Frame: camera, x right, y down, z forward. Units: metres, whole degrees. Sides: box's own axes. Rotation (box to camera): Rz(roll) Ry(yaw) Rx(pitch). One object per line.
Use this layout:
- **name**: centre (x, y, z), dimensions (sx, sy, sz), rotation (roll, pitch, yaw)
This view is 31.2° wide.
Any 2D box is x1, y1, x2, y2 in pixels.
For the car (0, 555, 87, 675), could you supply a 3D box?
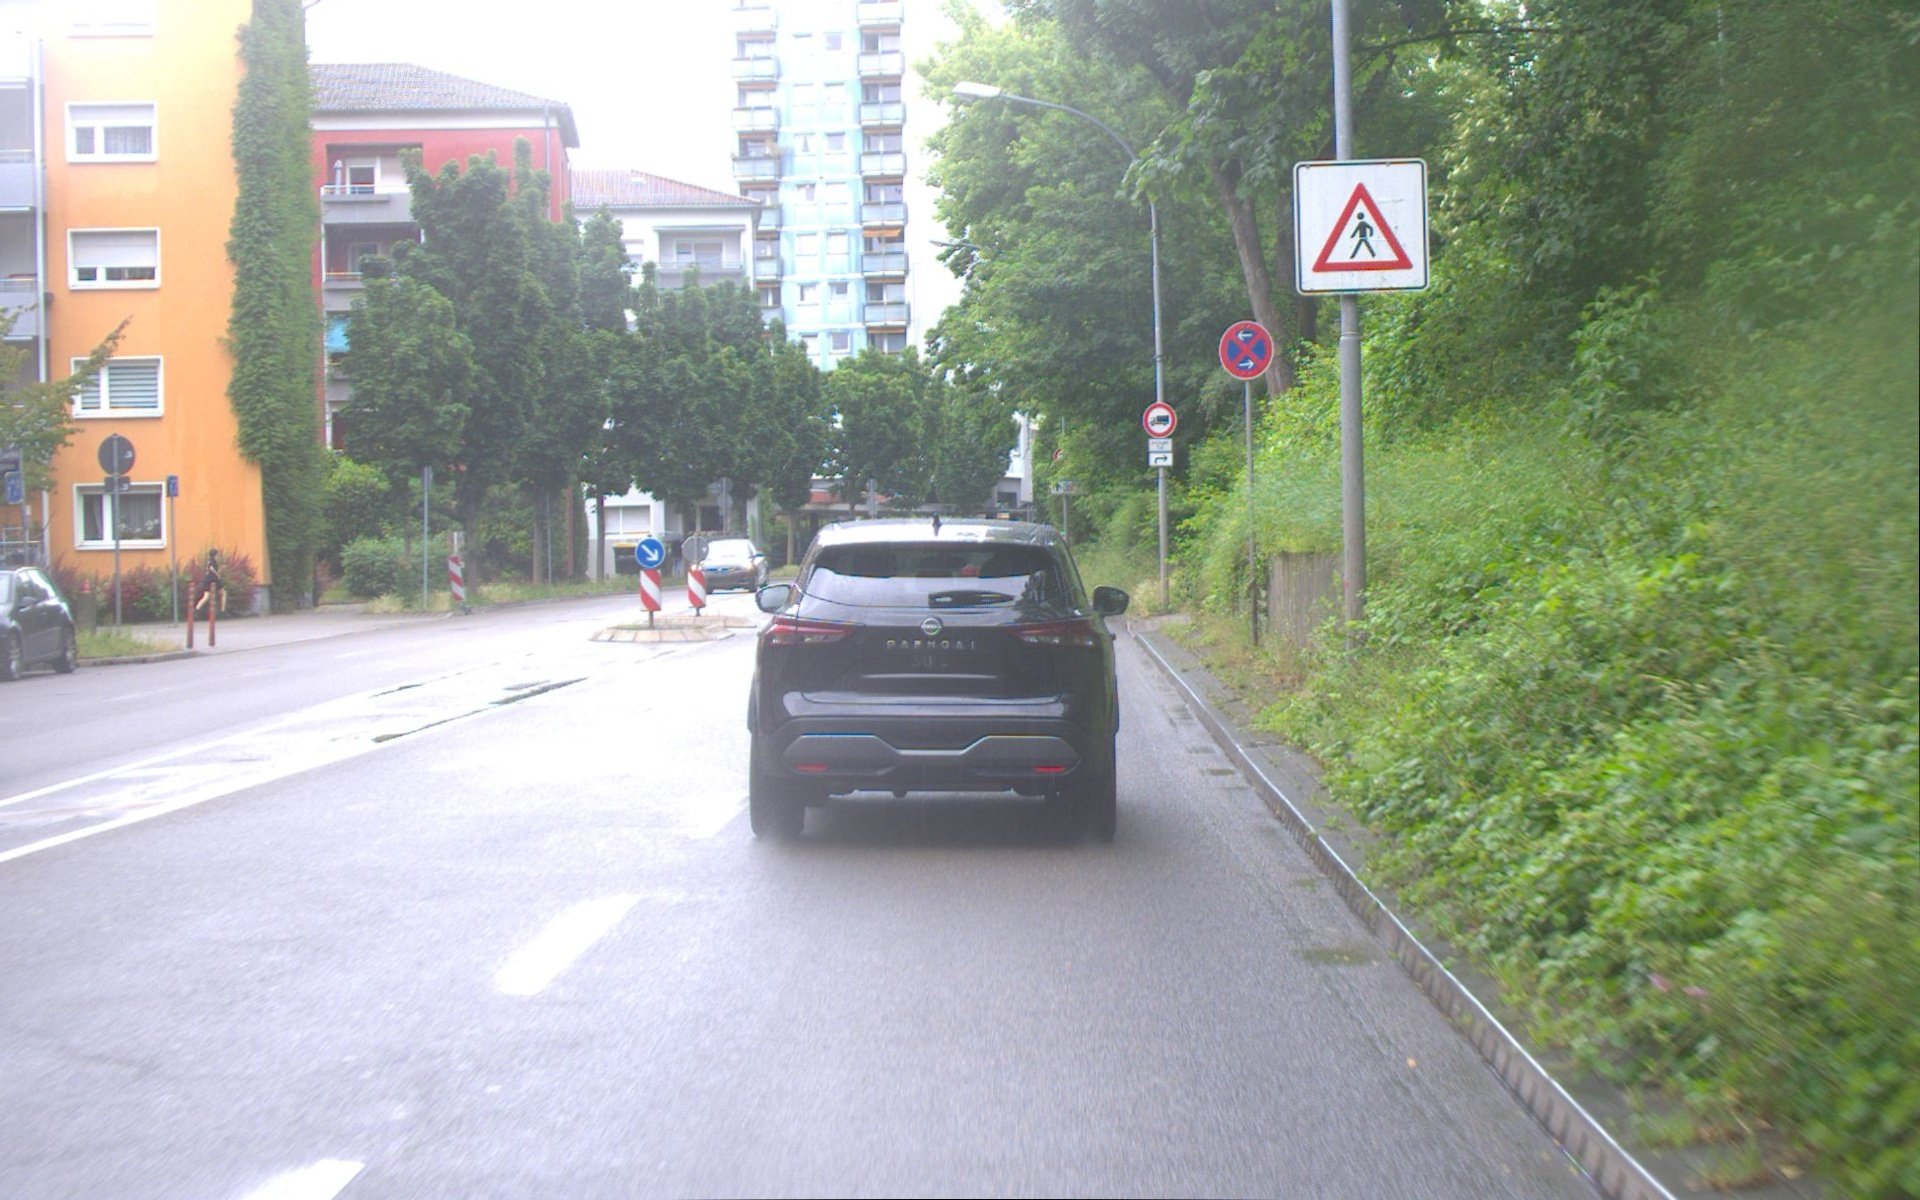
- **car**: centre (-12.647, 0.213, 44.101), dimensions (1.712, 1.420, 4.323), rotation (-4, 2, 0)

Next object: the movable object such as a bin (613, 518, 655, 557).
- **movable object such as a bin**: centre (-11.976, -2.297, 126.299), dimensions (1.321, 1.357, 1.258), rotation (-2, 1, 2)

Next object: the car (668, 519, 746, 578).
- **car**: centre (-6.906, -1.426, 94.148), dimensions (1.788, 1.499, 4.649), rotation (-3, 1, -1)

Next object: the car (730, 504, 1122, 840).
- **car**: centre (-0.173, 0.288, 18.236), dimensions (1.845, 1.577, 4.000), rotation (0, 1, 0)

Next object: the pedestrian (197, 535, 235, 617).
- **pedestrian**: centre (-15.412, -0.498, 71.252), dimensions (0.609, 1.668, 0.594), rotation (-2, 1, -2)

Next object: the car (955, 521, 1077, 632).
- **car**: centre (0.891, -0.414, 55.956), dimensions (1.887, 1.705, 4.000), rotation (-1, 1, 0)

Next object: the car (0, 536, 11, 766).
- **car**: centre (-6.989, 0.398, 20.441), dimensions (1.706, 1.473, 3.681), rotation (-2, 1, -2)
